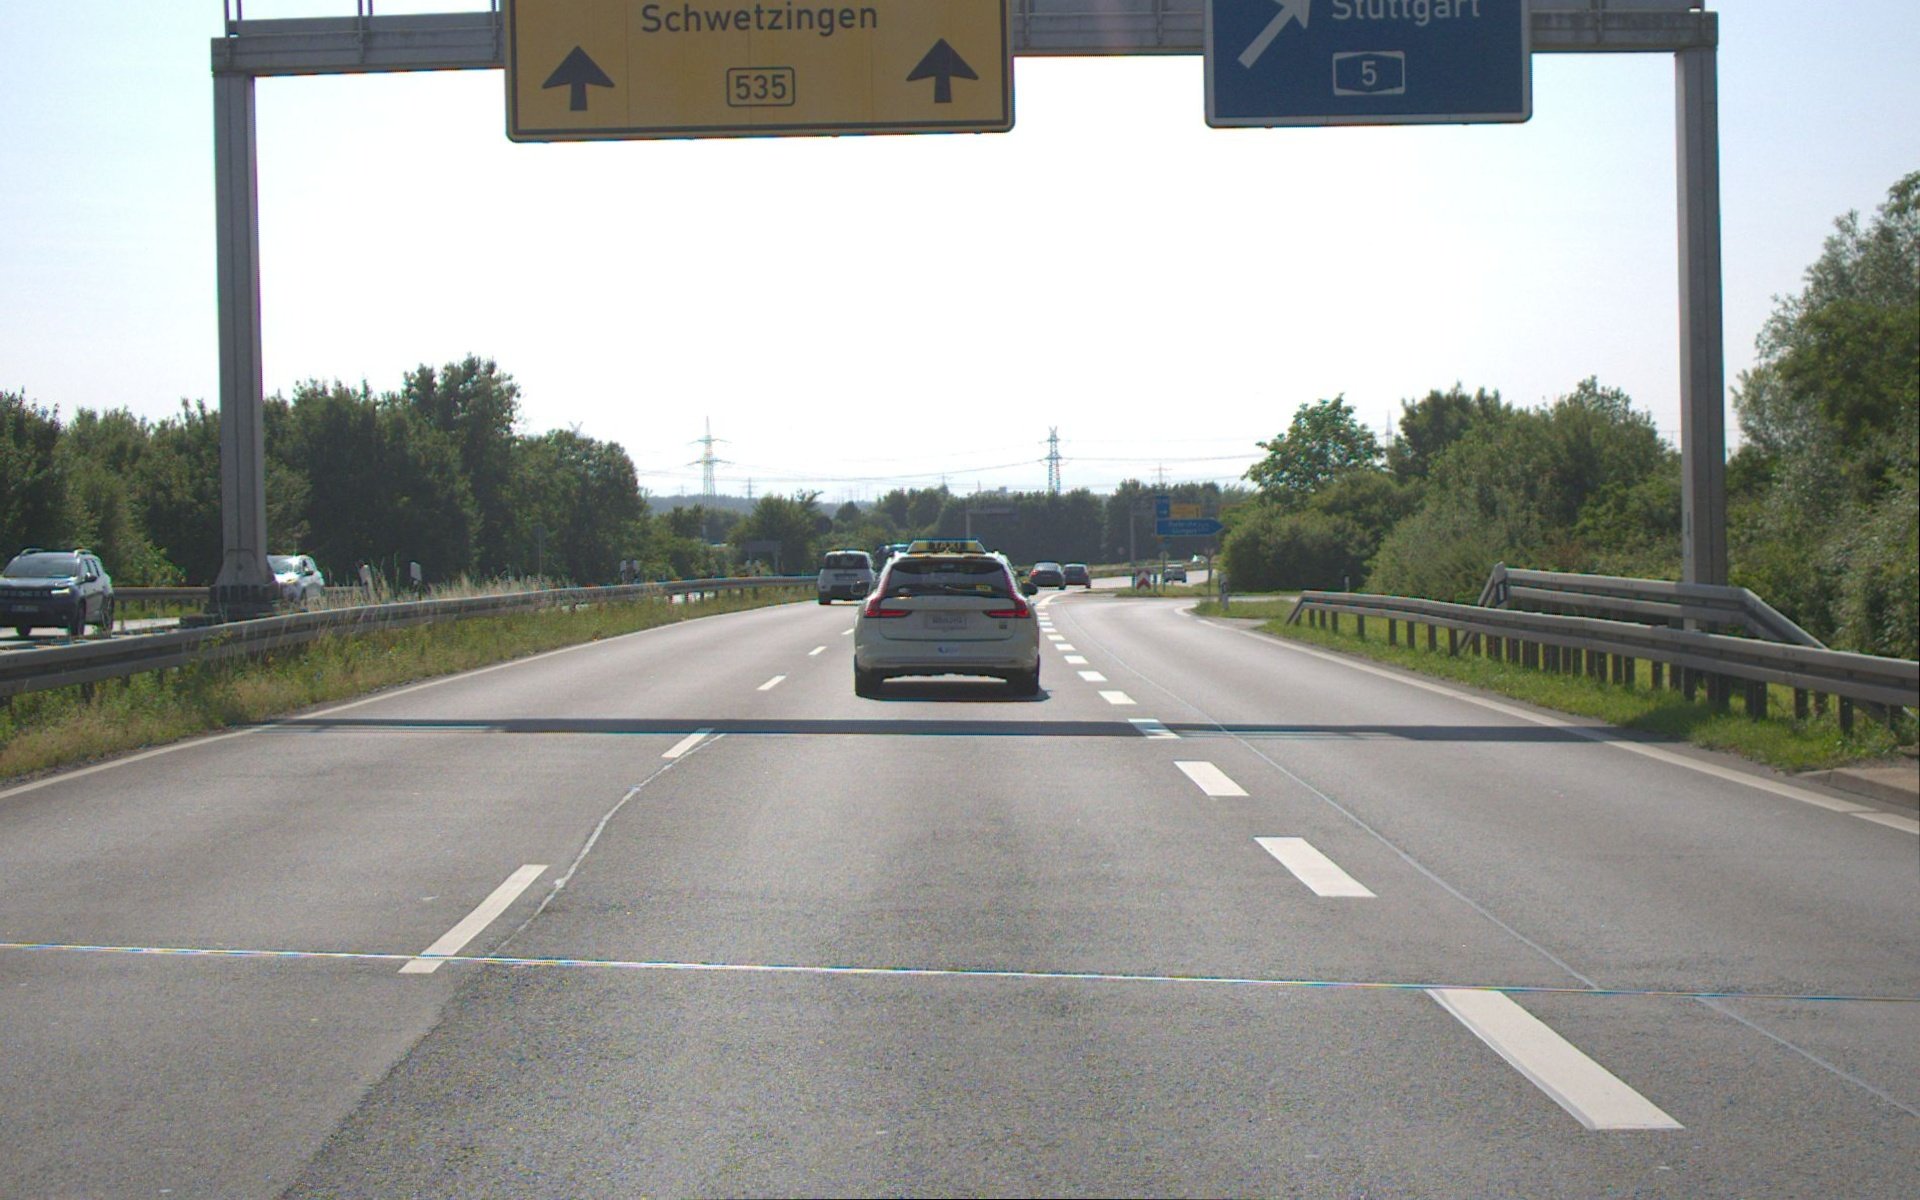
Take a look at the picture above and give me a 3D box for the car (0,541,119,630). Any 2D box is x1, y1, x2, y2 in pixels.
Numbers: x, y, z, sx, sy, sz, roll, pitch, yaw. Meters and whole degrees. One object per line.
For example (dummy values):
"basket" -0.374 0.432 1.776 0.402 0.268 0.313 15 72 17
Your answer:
"car" -17.308 -0.301 65.506 1.732 1.611 4.003 0 2 -2

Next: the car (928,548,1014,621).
"car" 0.216 -0.355 74.707 1.793 1.538 3.672 0 1 -1

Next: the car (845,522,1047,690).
"car" -0.171 0.015 35.726 1.958 1.596 4.107 1 2 -1

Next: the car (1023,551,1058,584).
"car" 4.433 -1.785 189.123 1.841 1.796 4.000 0 1 0

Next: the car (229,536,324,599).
"car" -18.224 -0.887 91.842 1.901 1.614 4.630 1 1 -4

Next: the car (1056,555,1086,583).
"car" 6.969 -1.950 215.408 1.841 1.692 4.000 0 1 2

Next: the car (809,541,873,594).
"car" -3.446 -0.947 99.259 1.793 1.498 4.043 0 1 -2
